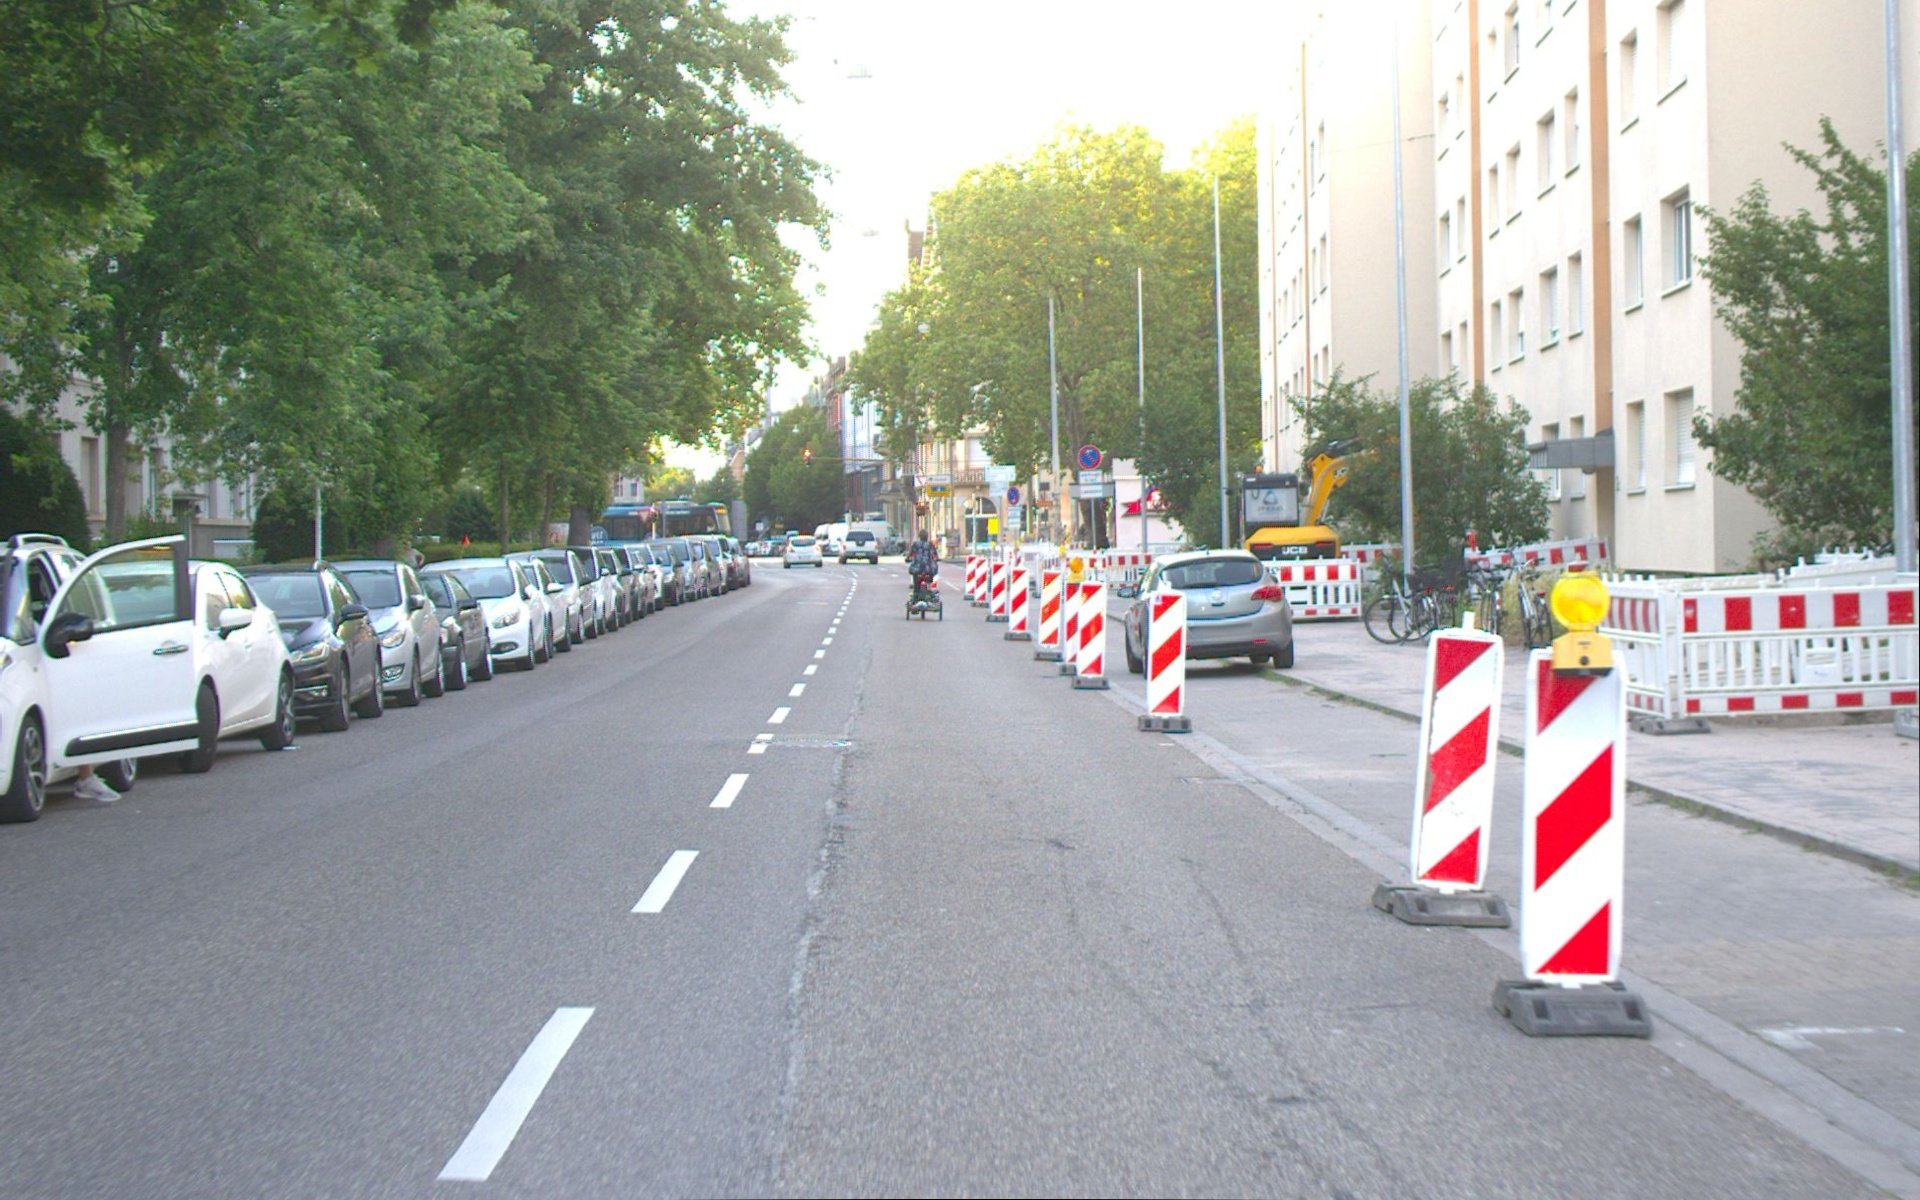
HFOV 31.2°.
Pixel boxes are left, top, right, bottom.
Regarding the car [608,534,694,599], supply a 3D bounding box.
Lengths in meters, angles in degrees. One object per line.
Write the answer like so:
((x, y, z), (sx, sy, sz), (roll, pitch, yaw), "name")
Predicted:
((-7.467, -0.831, 83.371), (1.707, 1.447, 3.843), (-4, 1, -1), "car")

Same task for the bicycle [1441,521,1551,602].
((8.206, -0.592, 52.687), (1.592, 1.217, 0.485), (0, 1, -7), "bicycle")

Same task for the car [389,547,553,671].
((-6.381, 0.080, 45.252), (1.692, 1.454, 4.146), (-4, 1, -3), "car")

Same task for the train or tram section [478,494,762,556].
((-21.335, -4.689, 215.750), (17.020, 3.613, 5.041), (0, 1, 16), "train or tram section")

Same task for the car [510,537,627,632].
((-6.876, -0.299, 60.571), (1.590, 1.524, 2.921), (-4, 1, 1), "car")

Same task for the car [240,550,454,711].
((-6.258, 0.270, 35.419), (1.674, 1.454, 3.706), (-4, 1, -4), "car")

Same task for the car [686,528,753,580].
((-7.891, -1.525, 113.141), (1.953, 1.611, 4.606), (-3, 1, -2), "car")

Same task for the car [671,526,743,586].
((-7.722, -1.357, 105.304), (1.953, 1.713, 4.772), (-3, 1, -2), "car")

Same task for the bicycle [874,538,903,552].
((-4.837, -3.743, 233.254), (1.914, 0.965, 0.546), (-1, 1, -3), "bicycle")

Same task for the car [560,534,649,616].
((-7.157, -0.521, 69.425), (1.523, 1.524, 3.165), (-4, 1, -3), "car")

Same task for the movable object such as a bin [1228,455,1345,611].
((5.786, -1.195, 61.209), (1.933, 2.683, 2.891), (-1, 1, 3), "movable object such as a bin")

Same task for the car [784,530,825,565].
((-7.348, -2.456, 161.929), (1.866, 1.580, 4.001), (-2, 1, -3), "car")

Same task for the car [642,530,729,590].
((-7.374, -1.105, 92.593), (1.733, 1.492, 4.270), (-3, 1, 3), "car")

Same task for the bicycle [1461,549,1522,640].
((7.033, -0.088, 45.537), (0.556, 1.168, 1.817), (0, 1, 1), "bicycle")

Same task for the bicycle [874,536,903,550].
((-4.863, -3.856, 233.103), (1.914, 0.965, 0.546), (-1, 1, -3), "bicycle")

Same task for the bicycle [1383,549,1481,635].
((6.518, -0.123, 47.558), (0.626, 1.168, 1.817), (-1, 1, -18), "bicycle")

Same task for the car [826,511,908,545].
((-6.446, -5.018, 239.446), (5.807, 2.280, 2.071), (-2, 2, -44), "car")

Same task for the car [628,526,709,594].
((-7.426, -1.031, 87.787), (1.707, 1.595, 4.117), (-4, 1, -1), "car")

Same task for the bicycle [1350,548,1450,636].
((6.011, -0.121, 47.048), (0.556, 1.168, 1.817), (-1, 1, -21), "bicycle")

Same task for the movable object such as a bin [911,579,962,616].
((-0.475, -0.058, 69.277), (0.939, 0.686, 0.993), (-3, 1, -4), "movable object such as a bin")

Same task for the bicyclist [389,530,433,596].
((-11.693, -0.796, 73.267), (0.808, 1.399, 0.974), (0, 1, -2), "bicyclist")

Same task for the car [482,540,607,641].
((-6.784, -0.190, 56.395), (1.590, 1.500, 3.800), (-4, 1, -2), "car")

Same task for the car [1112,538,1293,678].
((2.909, 0.051, 42.135), (1.776, 1.485, 4.573), (-4, 1, 0), "car")

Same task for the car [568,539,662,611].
((-7.350, -0.550, 73.570), (1.590, 1.399, 4.181), (-4, 1, -1), "car")

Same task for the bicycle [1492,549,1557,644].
((7.129, -0.059, 43.490), (0.556, 1.168, 1.817), (0, 1, 1), "bicycle")

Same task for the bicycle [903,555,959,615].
((-0.605, -0.309, 70.938), (0.939, 1.168, 2.359), (-3, 1, -4), "bicycle")

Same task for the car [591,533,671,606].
((-7.524, -0.713, 78.976), (1.590, 1.533, 4.207), (-4, 1, -3), "car")

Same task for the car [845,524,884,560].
((-4.940, -2.984, 177.369), (1.866, 1.808, 4.001), (-2, 1, -3), "car")

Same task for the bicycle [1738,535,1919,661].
((8.360, -0.029, 32.461), (1.811, 1.019, 0.558), (-6, 0, 0), "bicycle")

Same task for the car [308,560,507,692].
((-6.393, 0.261, 40.213), (1.674, 1.327, 4.580), (-4, 1, -2), "car")

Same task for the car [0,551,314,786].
((-6.001, 0.445, 25.035), (1.752, 1.474, 3.944), (-4, 1, 0), "car")

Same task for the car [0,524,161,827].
((-6.093, 0.427, 20.525), (1.752, 1.626, 4.108), (-4, 1, -3), "car")

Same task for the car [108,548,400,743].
((-6.147, 0.332, 30.414), (1.752, 1.474, 4.679), (-4, 1, -3), "car")

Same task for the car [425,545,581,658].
((-6.570, -0.018, 49.820), (1.692, 1.454, 4.484), (-4, 1, -2), "car")

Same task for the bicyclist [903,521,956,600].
((-0.628, -0.814, 70.835), (0.939, 1.576, 1.146), (-3, 1, -4), "bicyclist")
